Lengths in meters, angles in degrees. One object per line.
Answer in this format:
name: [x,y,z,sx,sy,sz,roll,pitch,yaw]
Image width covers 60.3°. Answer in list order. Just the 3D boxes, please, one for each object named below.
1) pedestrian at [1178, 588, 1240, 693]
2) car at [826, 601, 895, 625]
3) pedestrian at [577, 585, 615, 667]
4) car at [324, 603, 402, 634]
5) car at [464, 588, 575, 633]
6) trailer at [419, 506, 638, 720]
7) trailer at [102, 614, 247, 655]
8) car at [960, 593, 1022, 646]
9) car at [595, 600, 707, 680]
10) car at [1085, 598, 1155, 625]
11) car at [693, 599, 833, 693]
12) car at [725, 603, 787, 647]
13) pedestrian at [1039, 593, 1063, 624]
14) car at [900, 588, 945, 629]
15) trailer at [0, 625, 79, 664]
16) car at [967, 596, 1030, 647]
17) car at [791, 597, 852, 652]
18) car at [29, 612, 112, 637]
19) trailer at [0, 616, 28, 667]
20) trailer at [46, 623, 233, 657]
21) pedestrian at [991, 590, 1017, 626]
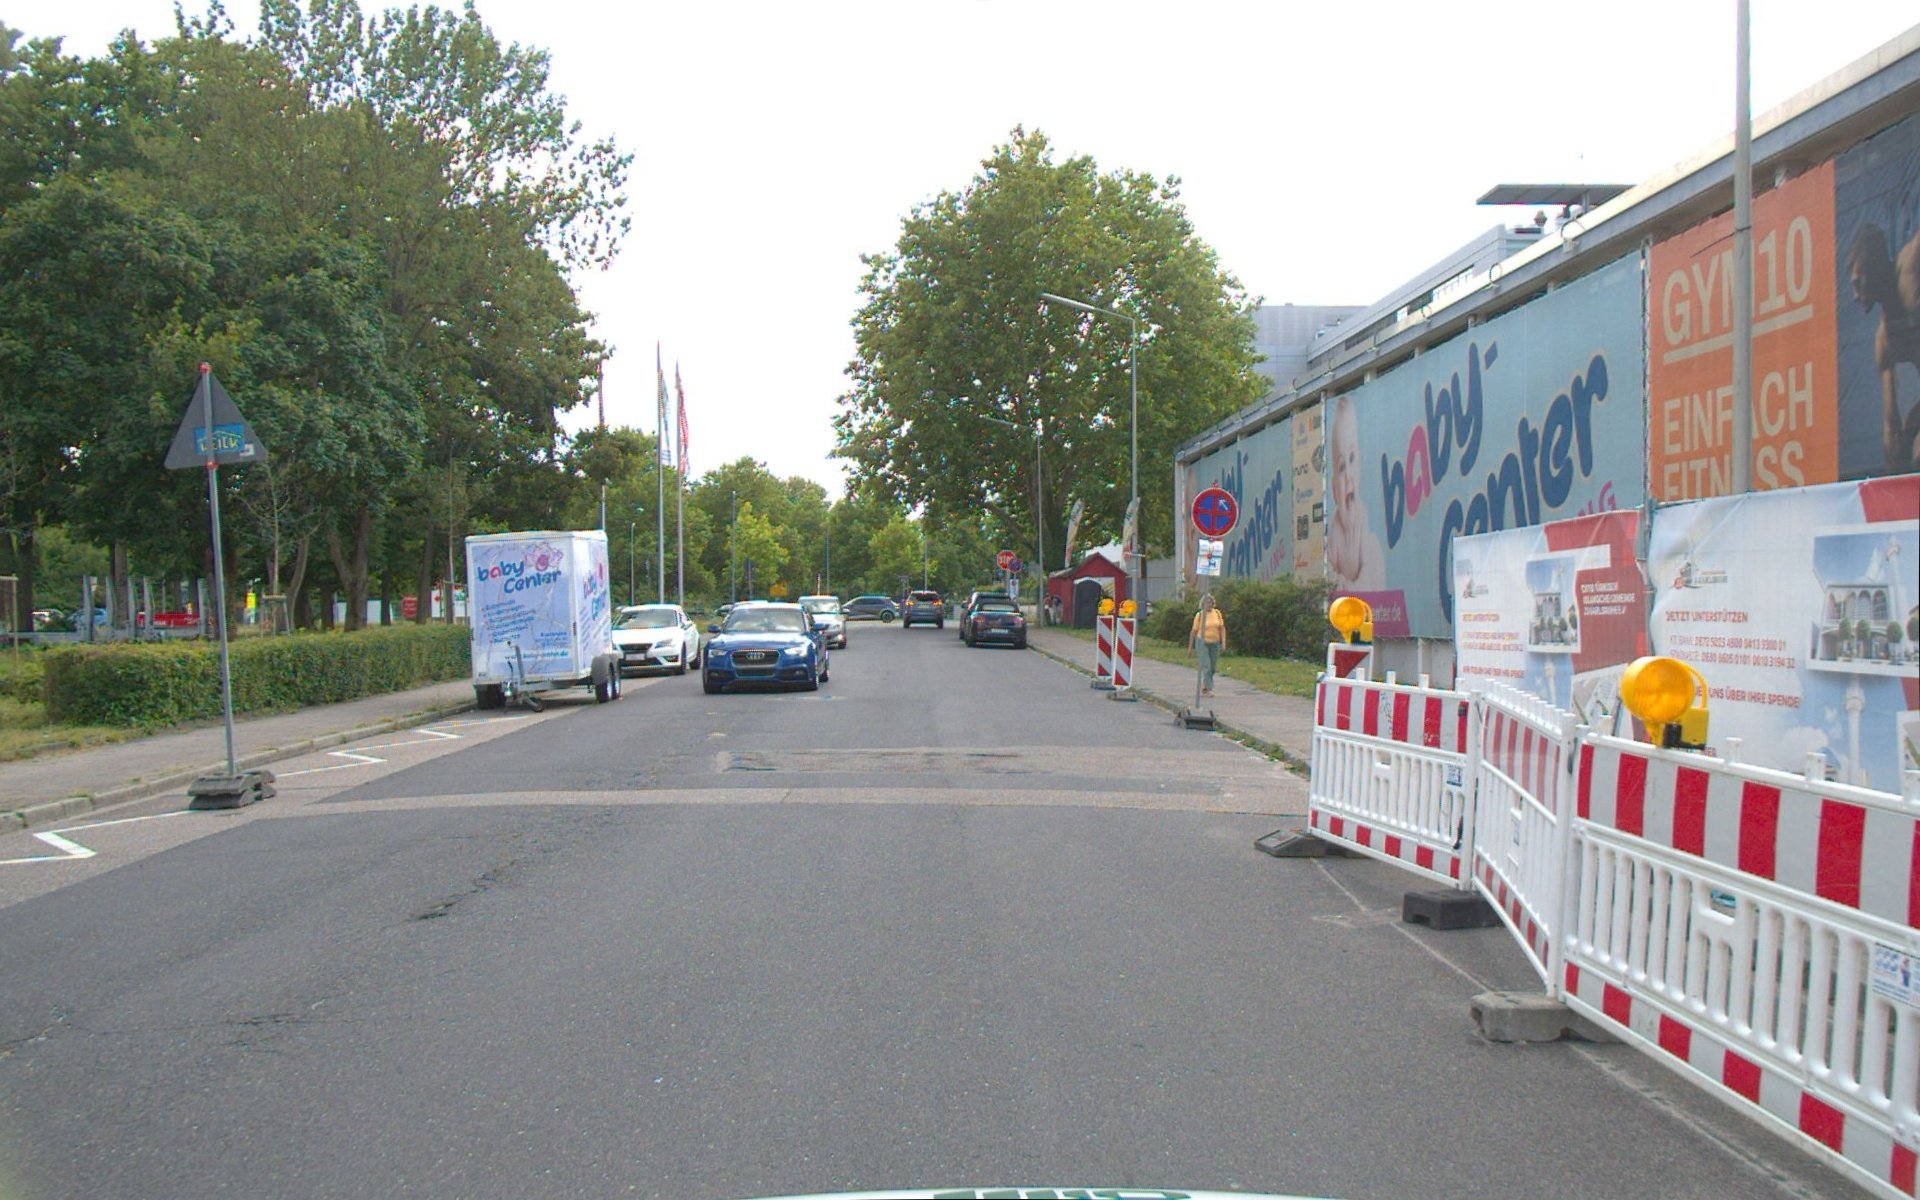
pedestrian: [3.795,0.610,25.264,0.668,1.560,1.128,0,-1,-7]
car: [-6.112,0.779,101.661,4.137,1.430,1.922,-1,0,-4]
pedestrian: [-9.253,0.656,42.114,0.793,2.049,0.885,0,-1,-2]
car: [-44.773,1.378,124.158,5.183,2.250,1.796,-1,-1,-5]
car: [-26.707,0.625,100.566,6.264,2.623,2.202,-1,1,-8]
trailer: [-6.350,0.170,24.954,2.097,2.831,4.701,-3,0,-2]
trailer: [-24.719,1.085,52.094,3.737,1.211,1.716,-1,0,4]
car: [1.033,0.635,57.254,1.772,1.694,4.637,2,0,-3]
car: [-6.542,0.798,35.404,1.730,1.505,4.233,-3,0,-3]
car: [9.943,0.726,103.012,4.137,1.607,1.922,-1,0,-4]
car: [-3.196,0.704,27.631,1.884,1.401,4.378,-1,0,-1]
car: [-7.385,0.882,60.199,1.675,1.444,4.330,-3,0,0]
pedestrian: [3.981,0.357,72.057,0.992,1.337,0.965,0,-1,6]
car: [-1.793,0.398,78.040,1.923,1.847,4.272,0,0,-4]
trailer: [-24.110,1.101,40.278,4.150,0.929,2.157,0,-2,-4]
car: [1.147,0.632,50.894,1.771,1.415,4.587,2,0,0]
car: [-4.009,0.677,48.208,1.559,1.490,3.760,-2,0,-2]
car: [-53.077,1.444,98.762,3.938,1.430,1.796,-1,0,-4]
trailer: [-23.918,0.966,37.871,4.150,1.140,1.670,0,-2,-4]
trailer: [-24.526,1.189,49.533,4.498,0.928,2.188,-1,1,3]
pedestrian: [2.309,0.440,87.456,0.985,1.882,1.222,0,-1,-20]
